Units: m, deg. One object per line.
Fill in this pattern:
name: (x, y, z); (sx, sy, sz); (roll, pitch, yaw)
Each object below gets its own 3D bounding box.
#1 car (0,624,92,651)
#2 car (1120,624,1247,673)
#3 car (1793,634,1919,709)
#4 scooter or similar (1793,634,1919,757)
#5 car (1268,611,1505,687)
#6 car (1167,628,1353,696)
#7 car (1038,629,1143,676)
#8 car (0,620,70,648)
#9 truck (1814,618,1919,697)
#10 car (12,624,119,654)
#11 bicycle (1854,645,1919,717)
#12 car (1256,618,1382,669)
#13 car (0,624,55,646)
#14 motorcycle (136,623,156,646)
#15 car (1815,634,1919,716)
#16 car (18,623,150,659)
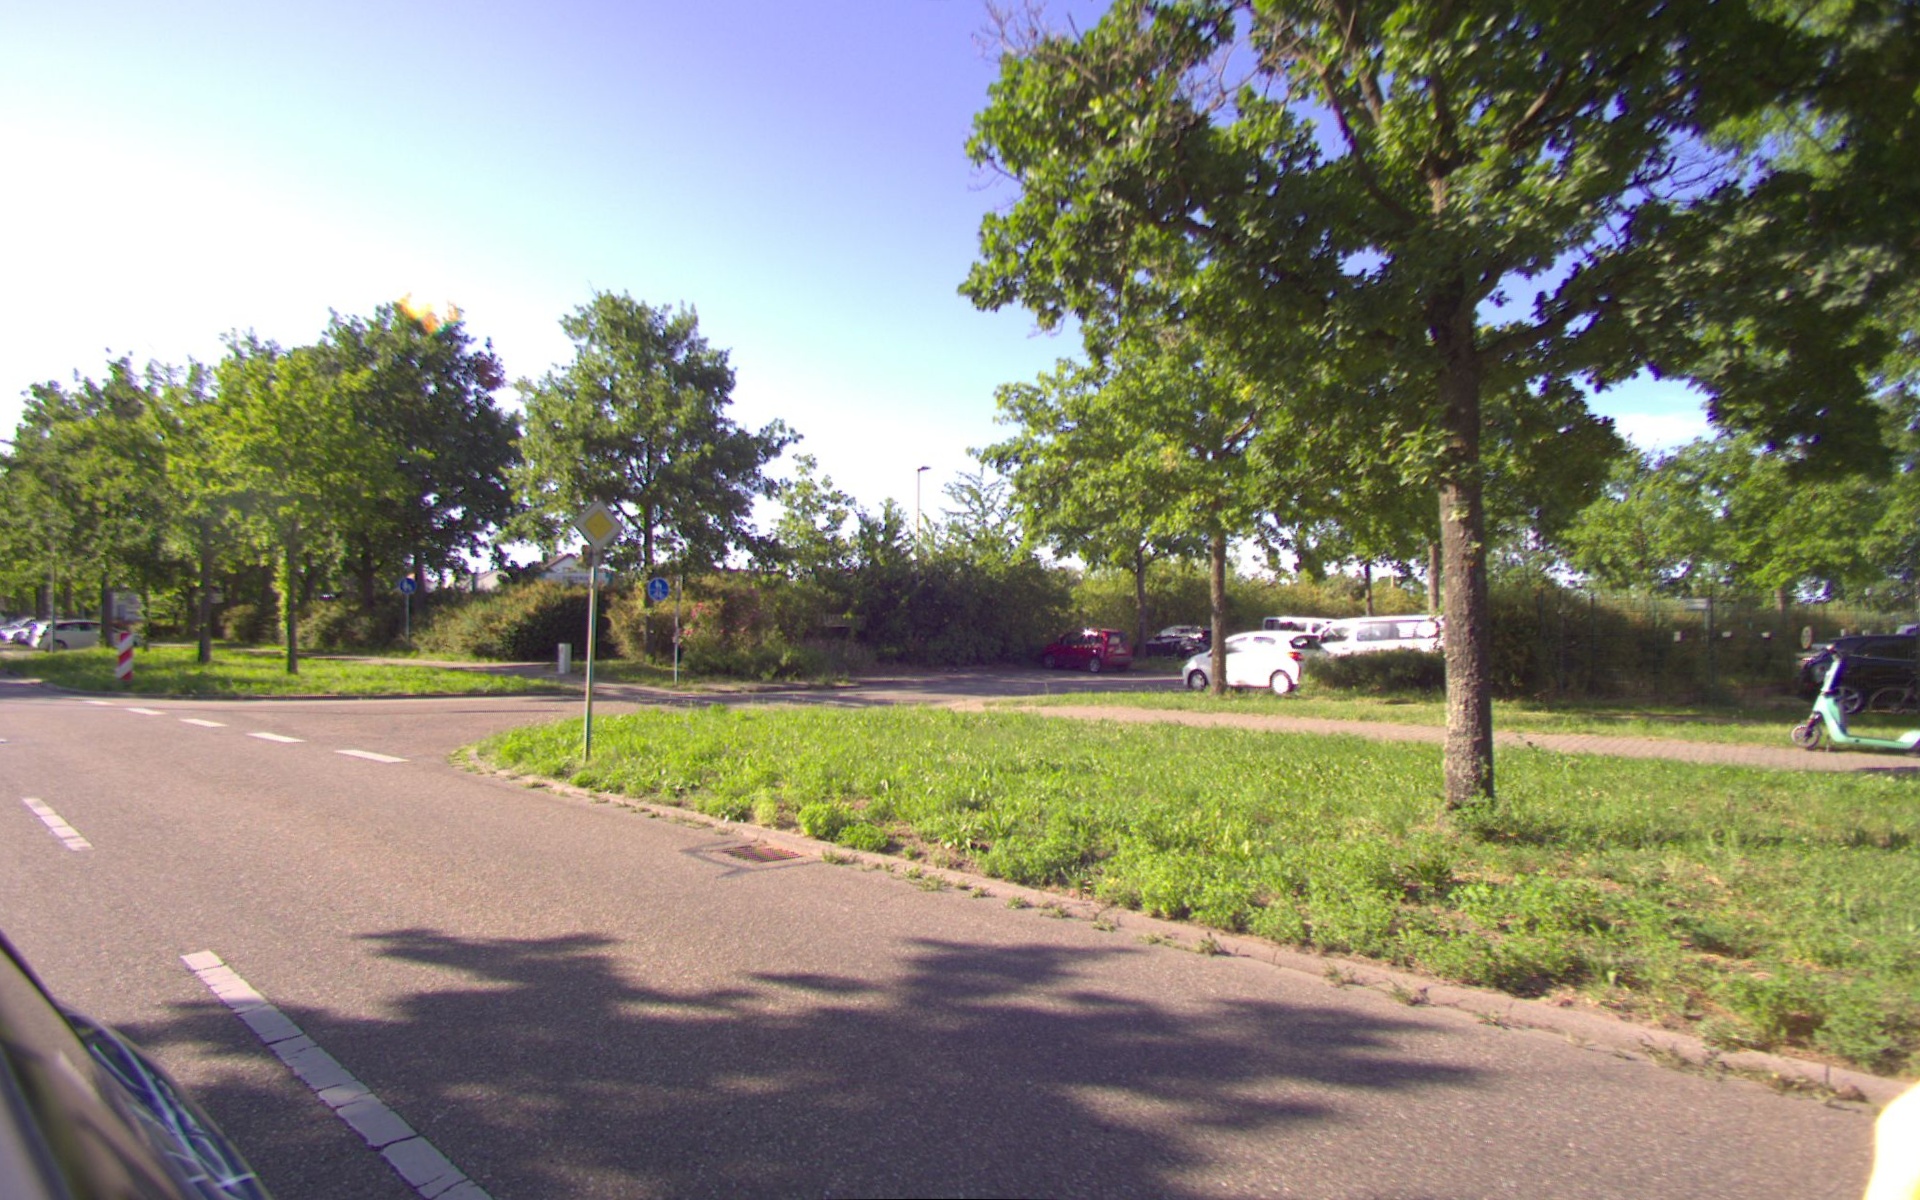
car: (-57.866, 2.354, 64.038); (4.362, 1.568, 2.089); (0, -1, -45)
car: (8.658, 1.852, 39.695); (1.966, 1.798, 4.896); (1, -2, -33)
car: (19.532, 1.431, 20.475); (4.001, 1.459, 1.775); (-2, -3, 45)
scooter or similar: (10.041, 1.020, 11.038); (1.441, 1.289, 0.390); (-2, -3, 43)
car: (11.393, 1.394, 27.443); (2.270, 1.831, 5.452); (2, -5, -37)
car: (7.221, 1.532, 24.687); (1.967, 1.516, 3.925); (2, -5, -37)
car: (4.652, 1.854, 36.503); (1.776, 1.516, 3.560); (2, -1, -37)
car: (-68.689, 2.494, 74.853); (1.999, 1.898, 4.181); (-2, -1, 43)
truck: (23.714, 1.367, 23.951); (5.185, 1.856, 2.003); (-2, -3, 45)
car: (-50.346, 2.183, 57.020); (2.088, 1.522, 4.364); (-2, -1, 43)
bicycle: (15.013, 1.245, 15.542); (1.890, 1.096, 0.632); (-2, -3, 41)
car: (15.211, 1.831, 43.140); (1.966, 2.029, 4.896); (1, -2, -33)
car: (-72.800, 2.706, 78.346); (4.015, 1.655, 1.877); (0, -1, -44)
motorcycle: (-54.172, 2.289, 67.345); (1.992, 1.443, 0.729); (-2, 1, 44)
car: (18.213, 1.357, 18.354); (4.001, 1.459, 1.775); (-2, -3, 45)
car: (-42.755, 1.983, 49.475); (2.189, 1.570, 4.580); (-2, -1, 40)
